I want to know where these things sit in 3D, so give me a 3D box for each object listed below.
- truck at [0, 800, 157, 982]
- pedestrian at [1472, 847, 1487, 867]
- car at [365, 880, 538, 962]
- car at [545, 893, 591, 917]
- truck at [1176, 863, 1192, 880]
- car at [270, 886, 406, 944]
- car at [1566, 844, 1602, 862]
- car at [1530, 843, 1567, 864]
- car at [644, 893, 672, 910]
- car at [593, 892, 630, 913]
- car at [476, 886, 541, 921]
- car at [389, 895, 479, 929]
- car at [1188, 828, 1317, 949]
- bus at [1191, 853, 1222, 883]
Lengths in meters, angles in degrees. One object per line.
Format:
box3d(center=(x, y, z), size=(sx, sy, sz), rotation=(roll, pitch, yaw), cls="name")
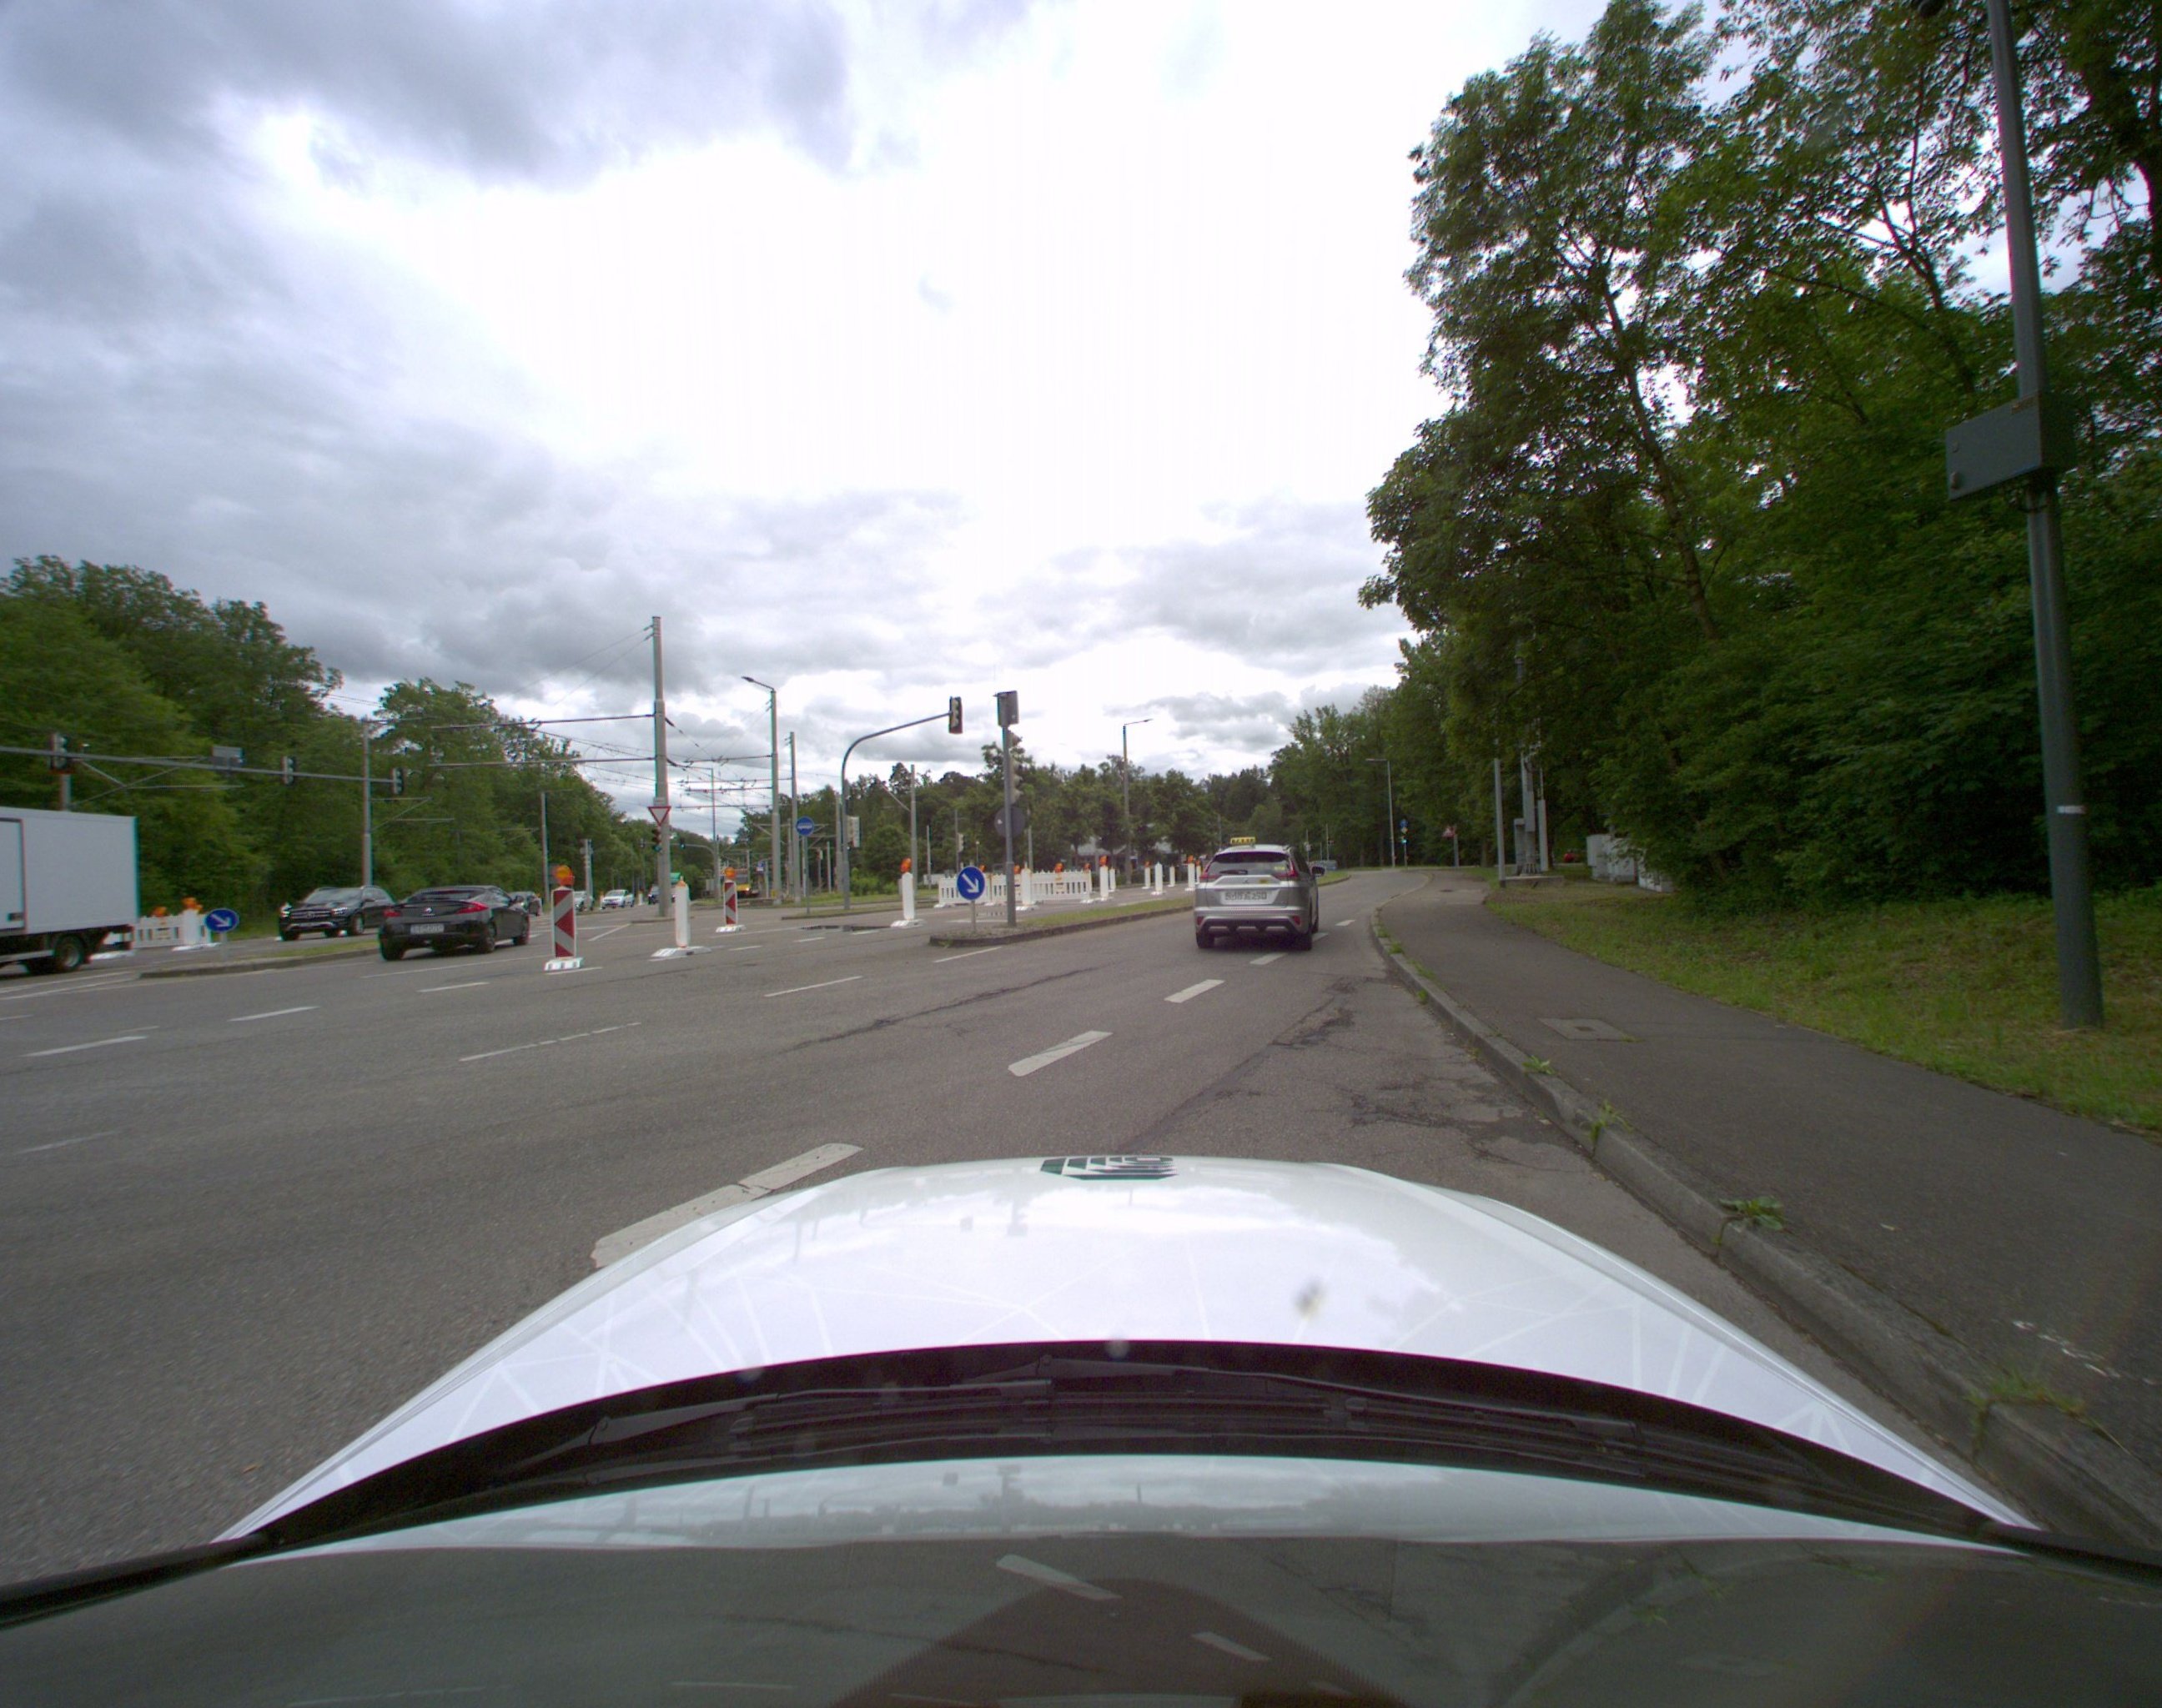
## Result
box3d(center=(-20.485, 0.730, 14.408), size=(2.459, 3.224, 7.102), rotation=(-3, -1, -22), cls="truck")
box3d(center=(31.034, 0.213, 63.424), size=(0.832, 1.506, 0.795), rotation=(-3, -2, 40), cls="pedestrian")
box3d(center=(-12.619, 1.290, 16.590), size=(1.780, 1.361, 3.452), rotation=(-3, -1, -20), cls="car")
box3d(center=(-38.164, 3.771, 60.640), size=(1.969, 1.607, 4.280), rotation=(-2, -1, -20), cls="car")
box3d(center=(21.907, 3.674, 173.473), size=(2.475, 3.287, 8.519), rotation=(-3, -3, 1), cls="truck")
box3d(center=(-26.157, 2.078, 28.896), size=(1.970, 1.750, 4.809), rotation=(-2, -1, -22), cls="car")
box3d(center=(40.061, -0.073, 64.829), size=(1.816, 1.326, 4.025), rotation=(-3, -1, 41), cls="car")
box3d(center=(37.963, -0.061, 66.080), size=(1.816, 1.536, 4.025), rotation=(-3, -1, 41), cls="car")
box3d(center=(-44.151, 4.958, 85.082), size=(1.969, 1.540, 4.280), rotation=(-2, -1, -20), cls="car")
box3d(center=(-39.759, 4.088, 69.035), size=(1.969, 1.541, 4.365), rotation=(-2, -1, -20), cls="car")
box3d(center=(-34.306, 2.916, 48.923), size=(1.969, 1.845, 4.657), rotation=(-2, -1, -20), cls="car")
box3d(center=(-31.068, 2.741, 39.278), size=(1.969, 1.361, 4.657), rotation=(-2, -1, -20), cls="car")
box3d(center=(3.035, 0.571, 13.853), size=(1.760, 1.748, 3.797), rotation=(-2, -2, 17), cls="car")
box3d(center=(16.632, 1.891, 108.771), size=(2.809, 3.603, 12.814), rotation=(-2, -1, 3), cls="bus")
